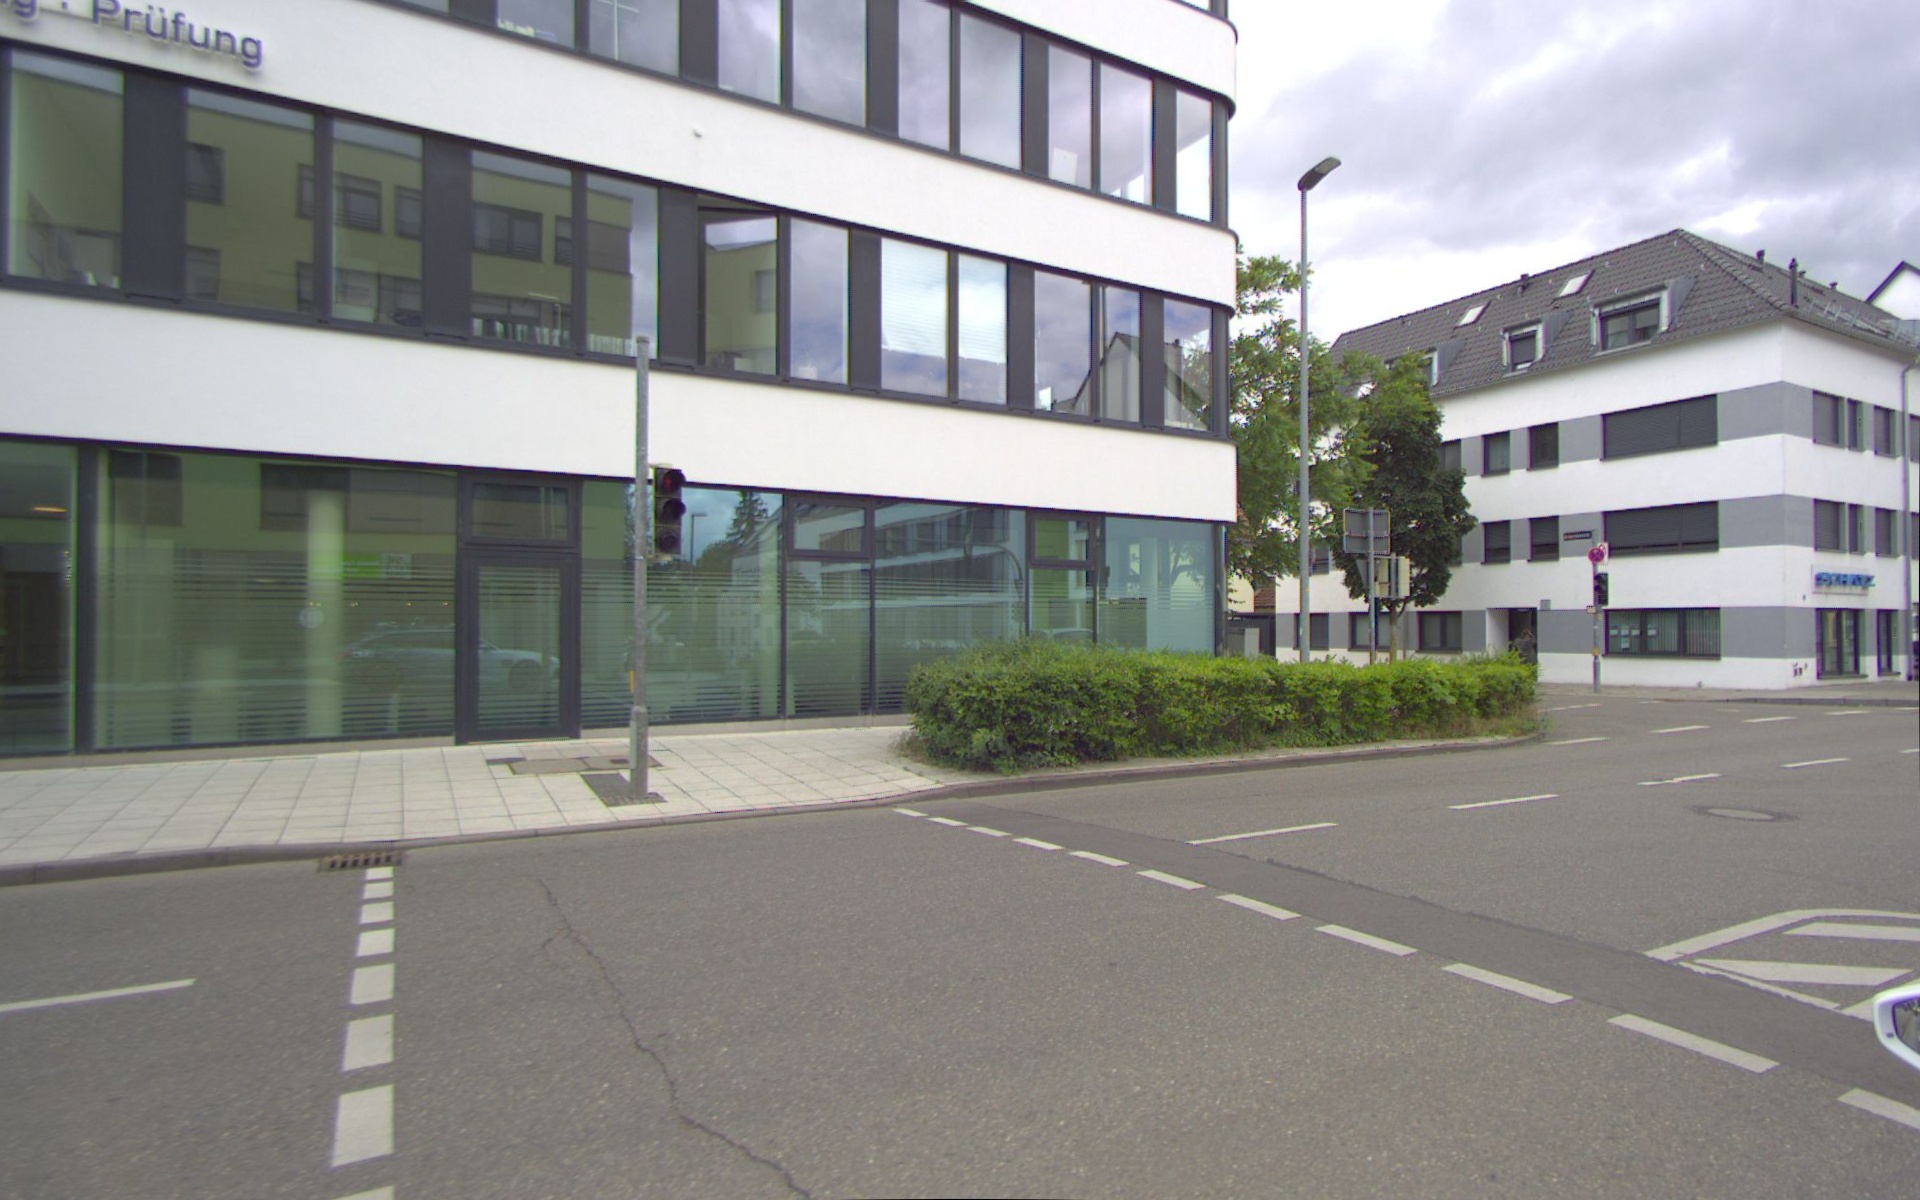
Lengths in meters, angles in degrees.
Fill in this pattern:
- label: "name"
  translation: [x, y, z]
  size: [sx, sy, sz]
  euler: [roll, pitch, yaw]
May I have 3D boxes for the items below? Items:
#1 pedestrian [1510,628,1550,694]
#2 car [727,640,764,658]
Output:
- label: "pedestrian"
  translation: [15.123, 1.599, 26.665]
  size: [0.868, 1.692, 0.813]
  euler: [-1, 1, 28]
- label: "car"
  translation: [-19.216, 4.429, 89.772]
  size: [1.893, 1.552, 3.963]
  euler: [1, -3, -34]
